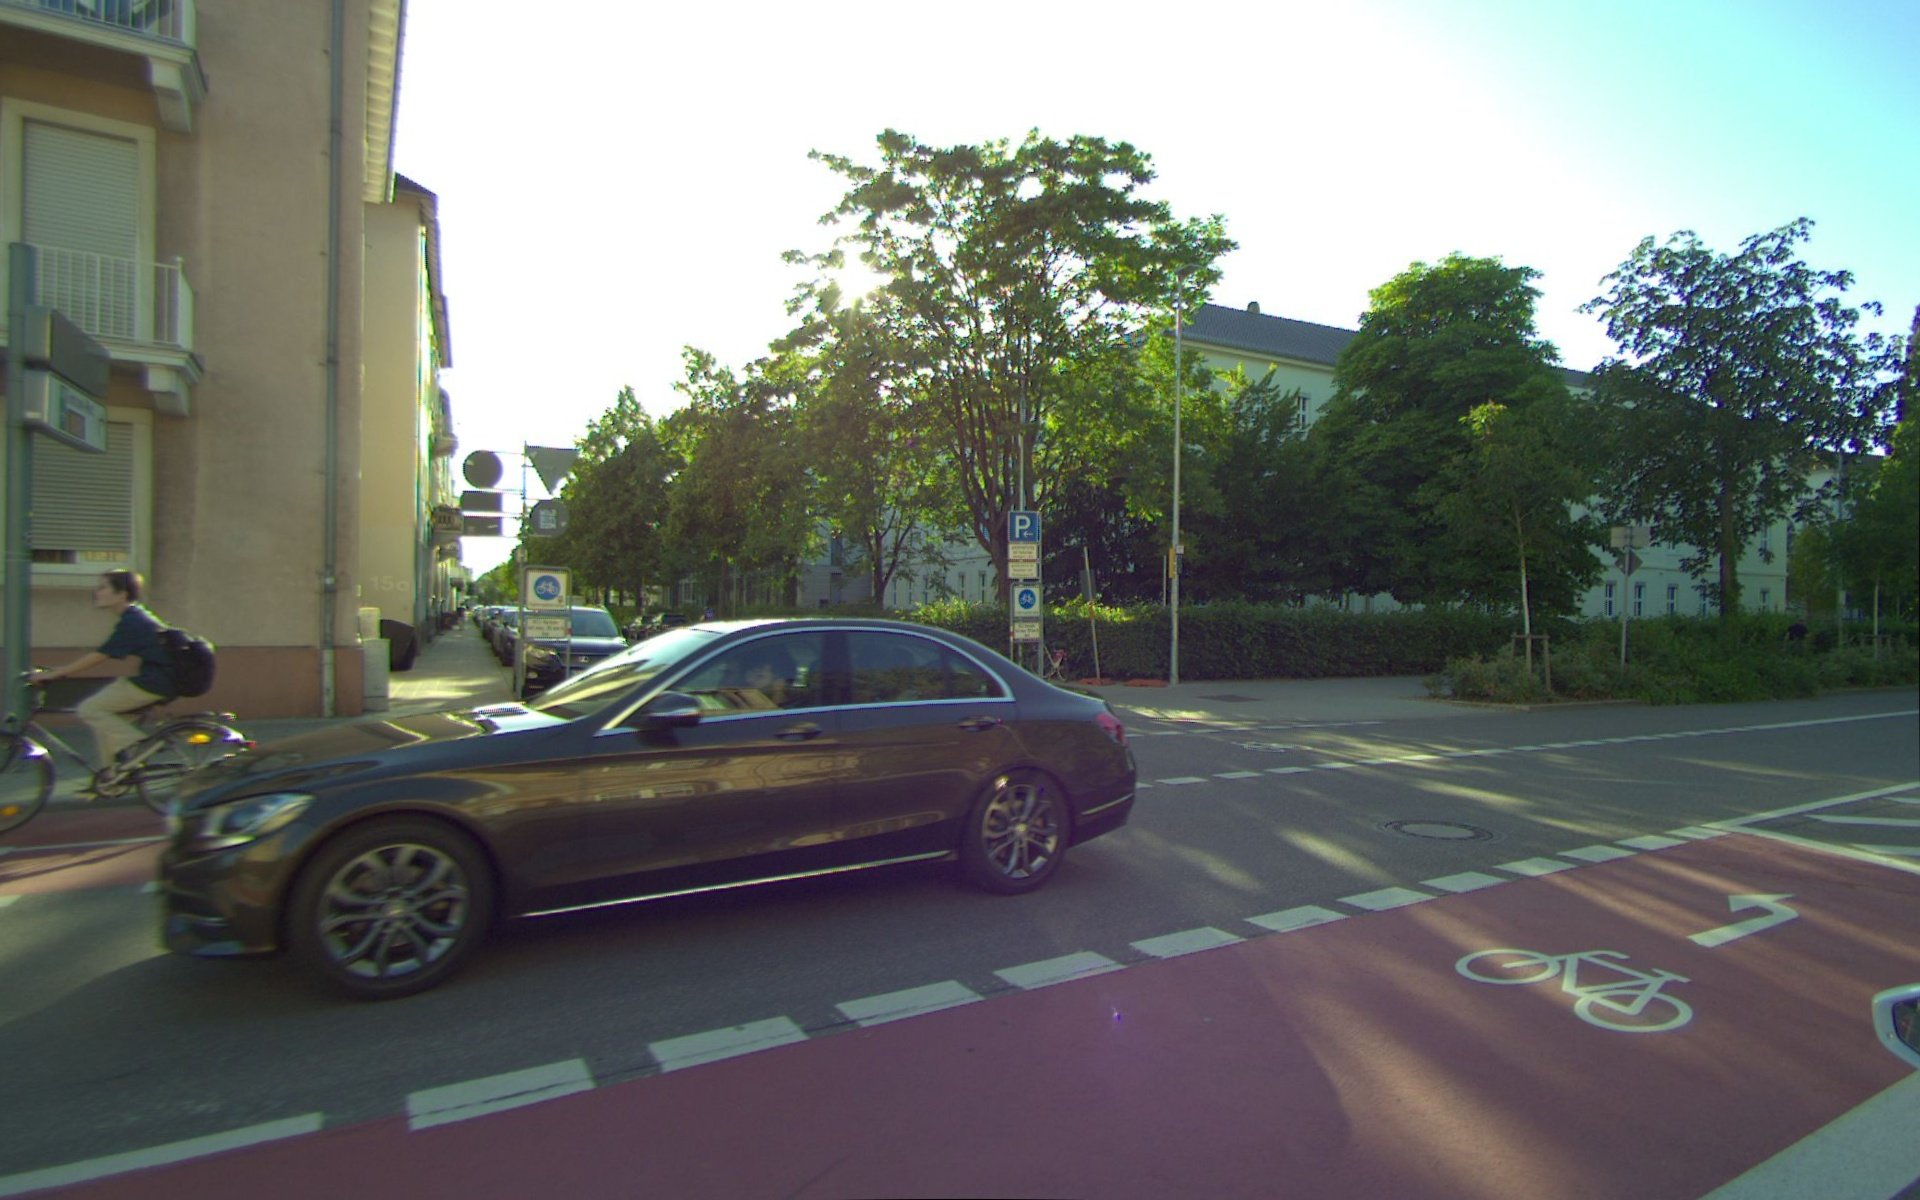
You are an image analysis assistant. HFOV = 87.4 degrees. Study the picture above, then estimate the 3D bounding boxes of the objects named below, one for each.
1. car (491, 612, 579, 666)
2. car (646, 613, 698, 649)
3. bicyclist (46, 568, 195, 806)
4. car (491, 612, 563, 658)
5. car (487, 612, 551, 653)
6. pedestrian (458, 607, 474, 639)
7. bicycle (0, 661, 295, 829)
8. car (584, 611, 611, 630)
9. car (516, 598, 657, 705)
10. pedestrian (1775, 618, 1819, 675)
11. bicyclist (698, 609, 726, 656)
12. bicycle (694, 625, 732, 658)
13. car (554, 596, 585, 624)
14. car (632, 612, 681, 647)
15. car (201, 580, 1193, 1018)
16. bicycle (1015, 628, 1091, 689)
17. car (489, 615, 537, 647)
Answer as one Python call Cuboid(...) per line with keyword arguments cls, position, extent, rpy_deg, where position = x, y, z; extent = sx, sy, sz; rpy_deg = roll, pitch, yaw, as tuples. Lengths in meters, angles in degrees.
Cuboid(cls="car", position=(-12.254, 1.079, 28.820), extent=(1.934, 1.439, 4.170), rpy_deg=(1, -1, -28))
Cuboid(cls="car", position=(-14.351, 1.529, 50.019), extent=(1.790, 1.699, 3.719), rpy_deg=(1, -1, -27))
Cuboid(cls="bicyclist", position=(-5.673, 0.573, 6.830), extent=(0.657, 1.504, 0.653), rpy_deg=(1, -3, -32))
Cuboid(cls="car", position=(-14.415, 1.129, 33.318), extent=(1.855, 1.439, 4.239), rpy_deg=(1, -1, -28))
Cuboid(cls="car", position=(-16.550, 1.212, 37.632), extent=(1.974, 1.439, 3.973), rpy_deg=(1, -1, -27))
Cuboid(cls="pedestrian", position=(-31.512, 1.458, 64.051), extent=(0.826, 2.040, 0.984), rpy_deg=(1, -1, -25))
Cuboid(cls="bicycle", position=(-5.748, 0.934, 6.753), extent=(2.086, 1.009, 0.648), rpy_deg=(1, -2, -32))
Cuboid(cls="car", position=(-28.809, 1.605, 79.812), extent=(1.511, 1.445, 3.717), rpy_deg=(1, -1, -27))
Cuboid(cls="car", position=(-6.984, 0.878, 18.475), extent=(2.033, 1.700, 4.561), rpy_deg=(1, -1, -25))
Cuboid(cls="pedestrian", position=(28.430, 1.571, 34.120), extent=(0.988, 1.876, 0.852), rpy_deg=(1, -1, -28))
Cuboid(cls="bicyclist", position=(-7.923, 1.040, 32.028), extent=(0.730, 1.505, 0.660), rpy_deg=(1, -2, -27))
Cuboid(cls="bicycle", position=(-7.872, 1.315, 31.916), extent=(0.730, 1.009, 2.095), rpy_deg=(1, -2, -27))
Cuboid(cls="car", position=(-38.934, 1.044, 100.048), extent=(2.381, 2.681, 5.070), rpy_deg=(1, -1, -27))
Cuboid(cls="car", position=(-16.400, 1.571, 54.137), extent=(1.818, 1.805, 3.972), rpy_deg=(1, -1, -27))
Cuboid(cls="car", position=(-1.046, 0.703, 5.278), extent=(4.504, 1.438, 1.802), rpy_deg=(1, -1, -32))
Cuboid(cls="bicycle", position=(2.013, 1.262, 22.120), extent=(0.553, 1.246, 2.312), rpy_deg=(1, -1, -26))
Cuboid(cls="car", position=(-21.032, 1.457, 47.159), extent=(1.788, 1.439, 3.971), rpy_deg=(1, -1, -28))
